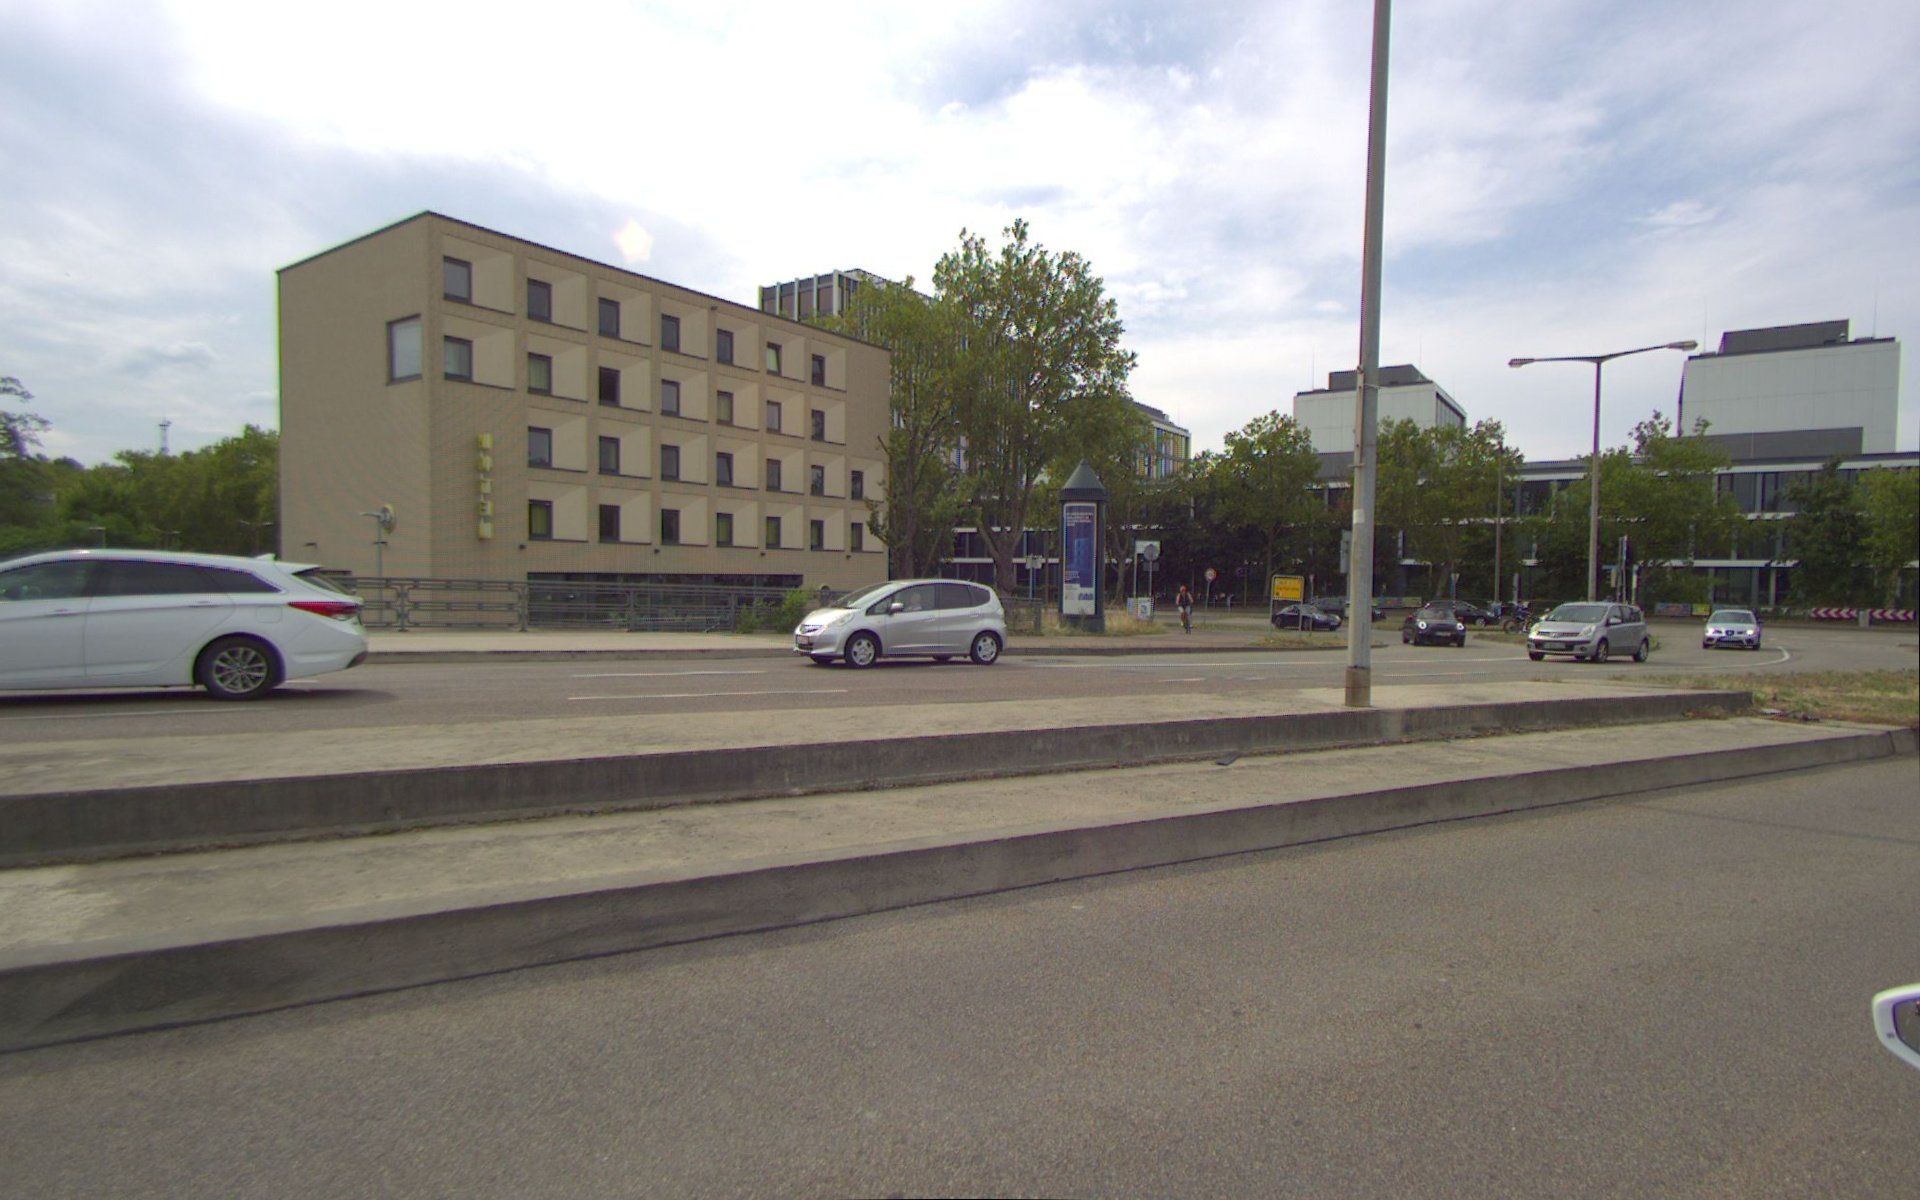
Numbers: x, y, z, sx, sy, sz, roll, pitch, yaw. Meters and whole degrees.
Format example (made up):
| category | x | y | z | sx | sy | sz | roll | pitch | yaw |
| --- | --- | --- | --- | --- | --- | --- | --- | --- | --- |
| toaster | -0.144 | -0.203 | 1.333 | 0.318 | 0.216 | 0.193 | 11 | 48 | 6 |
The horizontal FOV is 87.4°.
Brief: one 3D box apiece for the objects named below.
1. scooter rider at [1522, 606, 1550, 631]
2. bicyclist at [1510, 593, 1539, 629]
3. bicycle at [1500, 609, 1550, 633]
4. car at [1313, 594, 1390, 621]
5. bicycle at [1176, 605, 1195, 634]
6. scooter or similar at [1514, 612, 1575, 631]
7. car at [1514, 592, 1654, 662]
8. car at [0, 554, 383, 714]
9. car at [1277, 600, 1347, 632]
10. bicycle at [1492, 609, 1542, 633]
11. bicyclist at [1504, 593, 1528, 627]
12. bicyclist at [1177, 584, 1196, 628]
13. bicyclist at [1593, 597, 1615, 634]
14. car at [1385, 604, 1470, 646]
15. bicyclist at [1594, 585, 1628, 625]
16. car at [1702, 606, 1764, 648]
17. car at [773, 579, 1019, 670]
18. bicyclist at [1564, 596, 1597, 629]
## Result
| category | x | y | z | sx | sy | sz | roll | pitch | yaw |
| --- | --- | --- | --- | --- | --- | --- | --- | --- | --- |
| scooter rider | 27.390 | 0.857 | 47.777 | 0.898 | 1.152 | 0.809 | 1 | 1 | 13 |
| bicyclist | 25.206 | 0.486 | 44.849 | 0.999 | 1.560 | 0.628 | 1 | 2 | 21 |
| bicycle | 25.224 | 0.928 | 44.859 | 1.870 | 1.027 | 0.628 | 1 | 2 | 21 |
| car | 23.441 | 0.448 | 60.234 | 4.003 | 1.470 | 1.697 | 2 | 1 | 35 |
| bicycle | 8.968 | 0.775 | 39.948 | 0.672 | 1.068 | 1.995 | 2 | 1 | 14 |
| scooter or similar | 27.733 | 1.015 | 47.702 | 2.338 | 0.861 | 0.809 | 1 | 1 | 13 |
| car | 16.237 | 0.693 | 26.093 | 4.041 | 1.680 | 1.729 | 2 | -1 | -37 |
| car | -8.588 | 0.301 | 10.080 | 4.823 | 1.434 | 1.910 | 0 | 0 | -30 |
| car | 17.861 | 0.790 | 51.219 | 1.792 | 1.465 | 4.350 | 2 | 1 | -3 |
| bicycle | 25.347 | 0.962 | 45.719 | 1.869 | 1.027 | 0.628 | 1 | 2 | 19 |
| bicyclist | 25.313 | 0.449 | 45.722 | 0.824 | 1.550 | 0.628 | 1 | 2 | 19 |
| bicyclist | 9.003 | 0.223 | 39.974 | 0.672 | 1.694 | 0.847 | 2 | 1 | 14 |
| bicyclist | 29.287 | 0.697 | 45.697 | 0.768 | 1.602 | 0.653 | 2 | 2 | 32 |
| car | 17.350 | 0.908 | 37.454 | 1.712 | 1.429 | 3.879 | 1 | -1 | 7 |
| bicyclist | 27.761 | 0.214 | 42.845 | 0.866 | 1.679 | 0.812 | 1 | 1 | 5 |
| car | 28.692 | 0.987 | 37.234 | 1.598 | 1.429 | 3.841 | 1 | -1 | 41 |
| car | -1.082 | 0.418 | 17.768 | 3.988 | 1.434 | 1.797 | 1 | 0 | -34 |
| bicyclist | 27.786 | 0.547 | 44.999 | 1.095 | 1.456 | 0.648 | 1 | 1 | 16 |
